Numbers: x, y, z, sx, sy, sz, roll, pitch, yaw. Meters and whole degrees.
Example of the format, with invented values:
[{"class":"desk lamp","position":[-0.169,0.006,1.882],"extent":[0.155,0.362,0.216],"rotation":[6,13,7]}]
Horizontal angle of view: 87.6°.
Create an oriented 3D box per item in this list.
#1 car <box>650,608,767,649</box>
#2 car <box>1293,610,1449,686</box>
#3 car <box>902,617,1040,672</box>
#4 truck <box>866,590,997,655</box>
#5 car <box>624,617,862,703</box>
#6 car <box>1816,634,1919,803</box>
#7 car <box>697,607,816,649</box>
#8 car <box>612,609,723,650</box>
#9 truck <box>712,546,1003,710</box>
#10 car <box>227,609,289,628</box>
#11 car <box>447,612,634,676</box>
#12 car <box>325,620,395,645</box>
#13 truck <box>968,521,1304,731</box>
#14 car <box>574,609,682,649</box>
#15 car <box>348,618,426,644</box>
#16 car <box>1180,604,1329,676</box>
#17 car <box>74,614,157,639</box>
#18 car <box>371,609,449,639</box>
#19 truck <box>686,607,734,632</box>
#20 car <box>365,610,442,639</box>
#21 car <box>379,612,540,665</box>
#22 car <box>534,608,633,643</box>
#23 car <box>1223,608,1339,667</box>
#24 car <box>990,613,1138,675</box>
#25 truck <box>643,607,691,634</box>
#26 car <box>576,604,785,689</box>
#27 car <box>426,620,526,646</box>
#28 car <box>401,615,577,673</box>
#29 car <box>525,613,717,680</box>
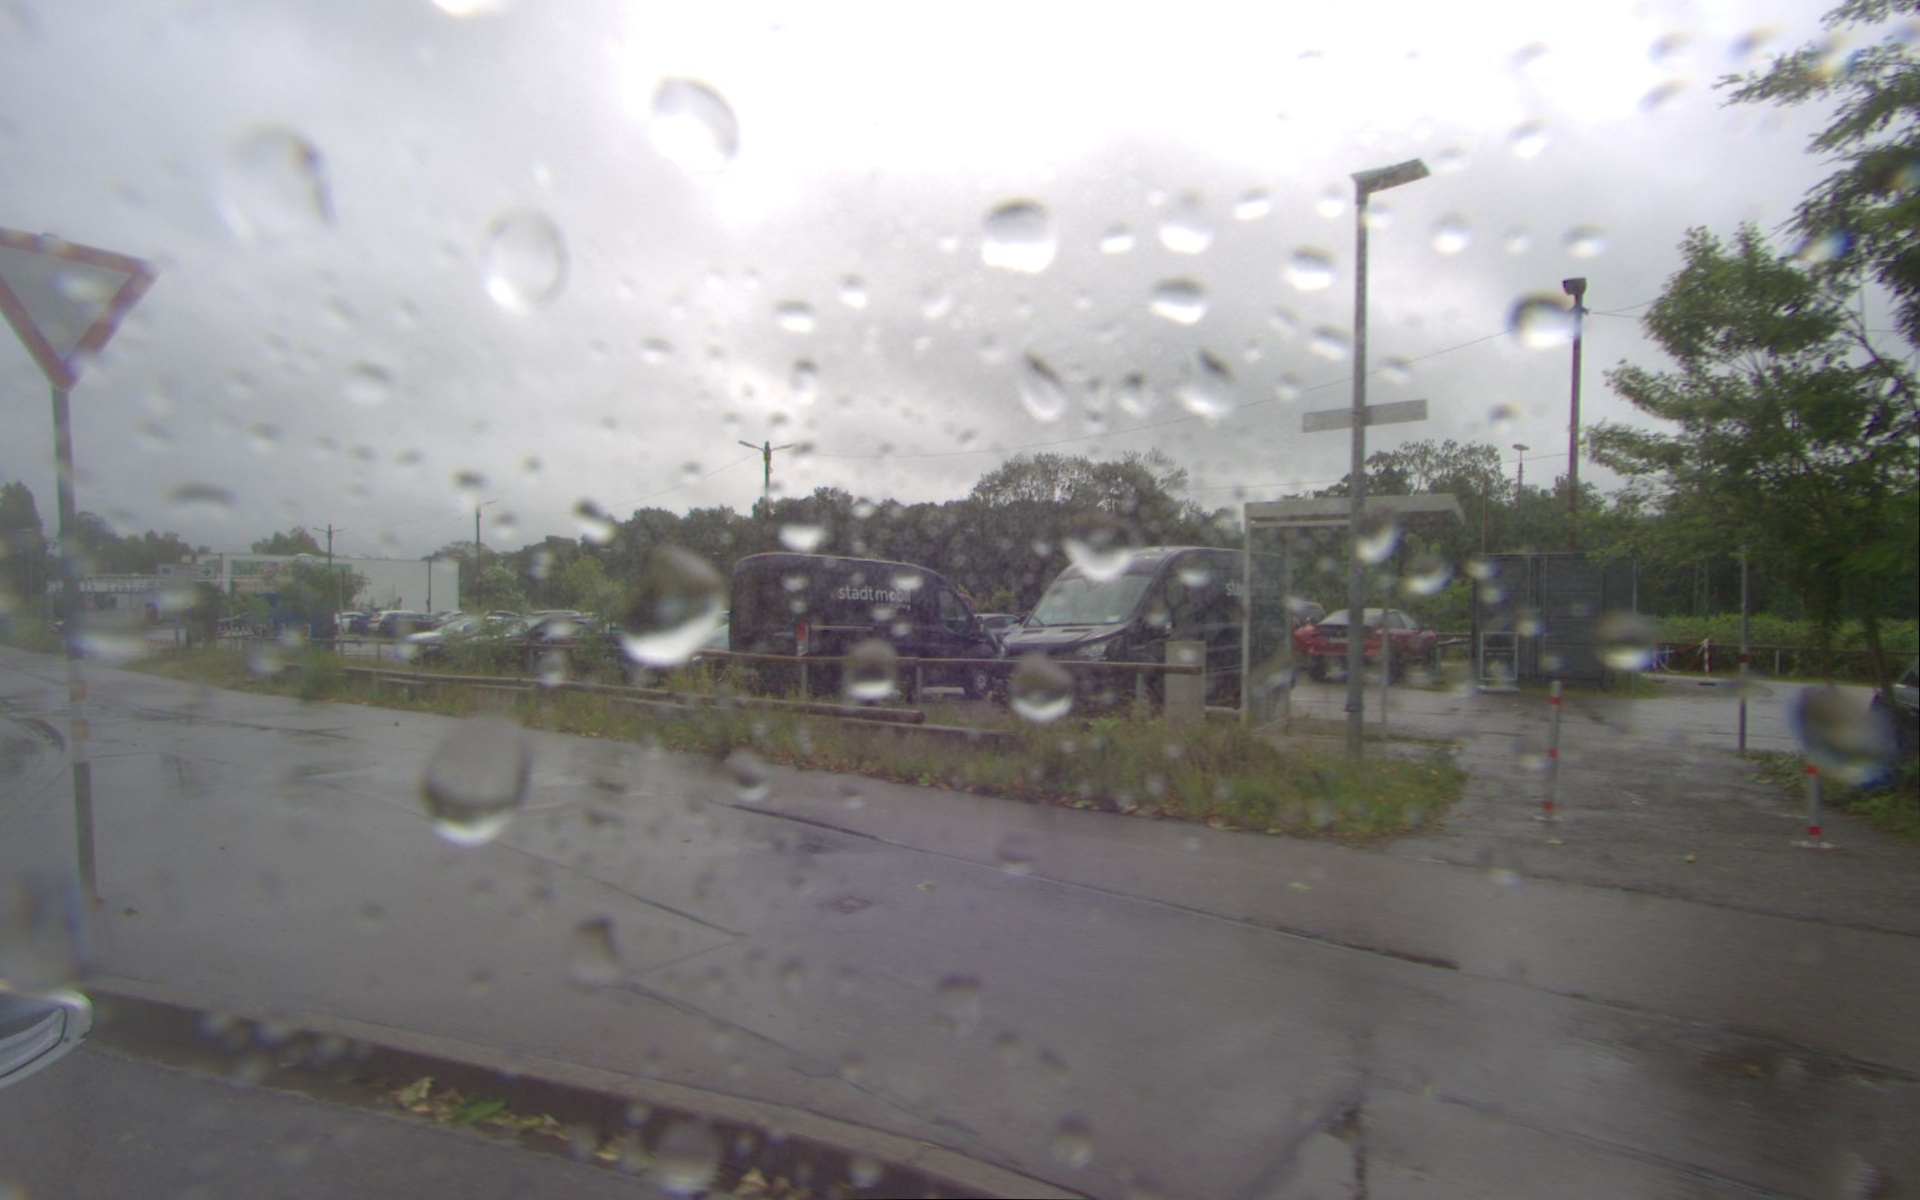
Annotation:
[{"class":"car","position":[-9.595,1.081,38.386],"extent":[1.868,1.446,3.927],"rotation":[-2,-1,45]},{"class":"car","position":[9.235,1.020,22.343],"extent":[1.824,1.468,3.962],"rotation":[-2,-1,45]},{"class":"car","position":[0.377,1.273,29.474],"extent":[1.803,1.446,3.927],"rotation":[-2,-1,45]},{"class":"truck","position":[-1.060,0.865,39.594],"extent":[2.129,2.399,5.260],"rotation":[0,-1,42]},{"class":"car","position":[-3.967,1.093,18.849],"extent":[1.842,1.438,4.142],"rotation":[-2,-3,40]},{"class":"car","position":[9.547,1.094,8.863],"extent":[1.675,1.509,3.992],"rotation":[0,-1,20]},{"class":"car","position":[-7.455,1.015,36.935],"extent":[1.868,1.446,3.927],"rotation":[-2,-1,45]},{"class":"car","position":[-11.699,1.163,40.195],"extent":[1.760,1.509,3.927],"rotation":[-2,-1,45]},{"class":"truck","position":[-1.603,0.522,17.469],"extent":[2.086,2.433,5.011],"rotation":[-1,-2,40]},{"class":"car","position":[-59.255,1.585,84.530],"extent":[1.980,1.504,3.965],"rotation":[-2,-3,44]},{"class":"car","position":[-10.221,1.084,24.594],"extent":[1.759,1.440,3.879],"rotation":[-2,-3,40]},{"class":"car","position":[-41.708,2.266,69.596],"extent":[3.803,1.503,1.909],"rotation":[-2,0,-44]},{"class":"truck","position":[2.641,0.395,13.843],"extent":[2.052,2.352,5.302],"rotation":[-1,-2,43]},{"class":"car","position":[-13.867,1.202,41.941],"extent":[1.760,1.509,3.927],"rotation":[-2,-1,45]},{"class":"car","position":[-37.076,2.016,64.844],"extent":[4.017,1.503,1.909],"rotation":[-2,0,-44]},{"class":"car","position":[7.165,0.912,24.158],"extent":[1.789,1.557,3.927],"rotation":[-2,-1,45]},{"class":"car","position":[-63.185,1.953,74.957],"extent":[4.648,1.757,2.109],"rotation":[0,-2,-43]},{"class":"car","position":[-33.126,1.427,60.351],"extent":[3.749,1.605,1.769],"rotation":[-2,0,-44]},{"class":"truck","position":[-22.337,1.733,89.304],"extent":[2.057,2.166,5.037],"rotation":[0,0,-42]},{"class":"car","position":[-34.911,1.542,62.907],"extent":[3.876,1.605,1.769],"rotation":[-2,0,-44]},{"class":"car","position":[-14.416,1.124,28.990],"extent":[1.884,1.411,3.755],"rotation":[-2,-3,40]},{"class":"car","position":[-17.509,1.173,46.660],"extent":[1.760,1.509,3.927],"rotation":[-2,-1,45]},{"class":"car","position":[9.669,1.103,29.993],"extent":[1.747,1.661,3.964],"rotation":[-1,-2,44]},{"class":"car","position":[2.916,1.159,27.439],"extent":[1.907,1.509,4.040],"rotation":[-2,-1,45]},{"class":"truck","position":[-27.462,1.900,93.860],"extent":[5.029,2.433,2.061],"rotation":[0,0,43]},{"class":"car","position":[-5.804,0.978,21.119],"extent":[1.875,1.614,3.879],"rotation":[-2,-3,40]},{"class":"car","position":[-26.509,1.808,54.979],"extent":[1.957,1.237,4.563],"rotation":[-2,-1,42]},{"class":"car","position":[-12.583,1.193,26.926],"extent":[1.884,1.440,3.879],"rotation":[-2,-3,40]},{"class":"car","position":[-7.771,1.067,23.224],"extent":[1.759,1.412,3.879],"rotation":[-2,-3,40]}]
